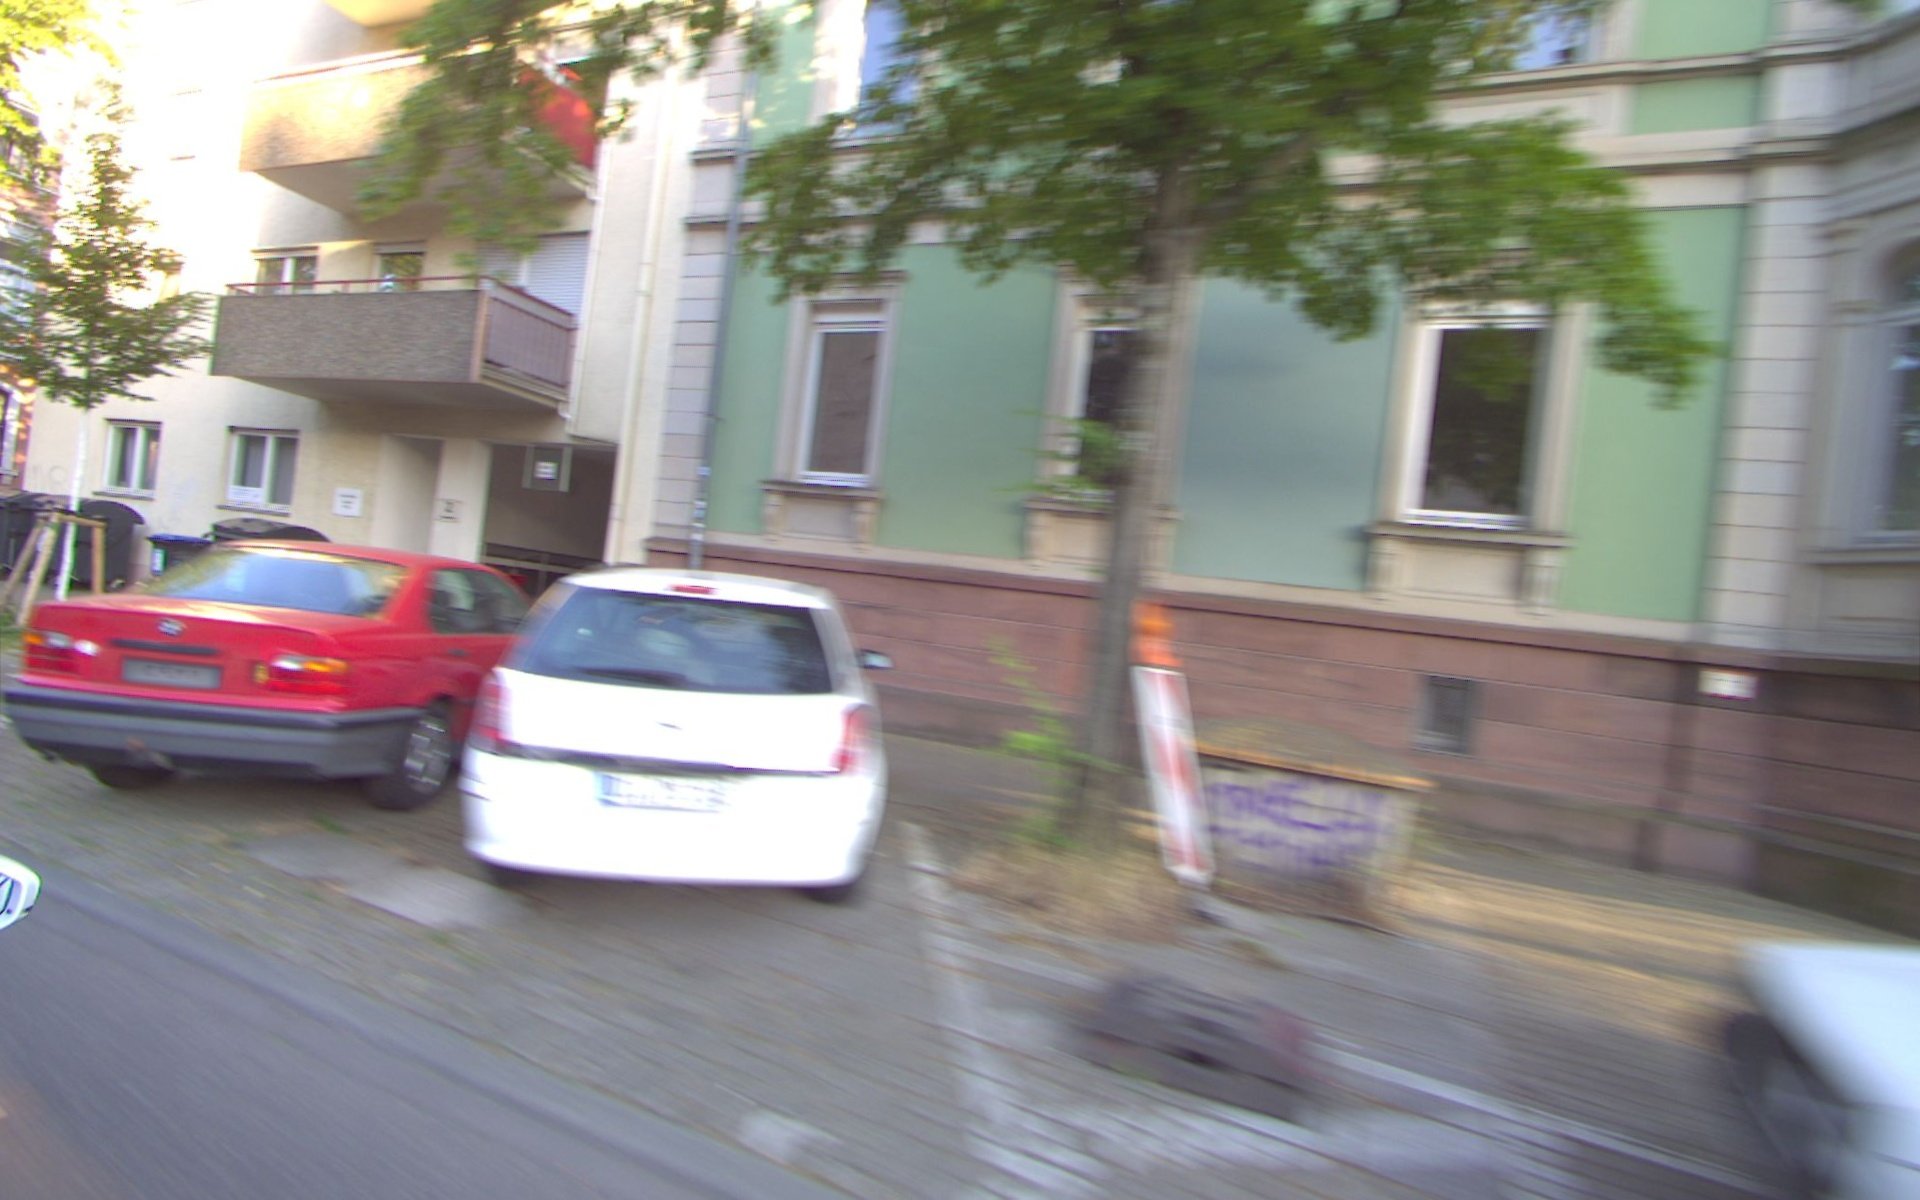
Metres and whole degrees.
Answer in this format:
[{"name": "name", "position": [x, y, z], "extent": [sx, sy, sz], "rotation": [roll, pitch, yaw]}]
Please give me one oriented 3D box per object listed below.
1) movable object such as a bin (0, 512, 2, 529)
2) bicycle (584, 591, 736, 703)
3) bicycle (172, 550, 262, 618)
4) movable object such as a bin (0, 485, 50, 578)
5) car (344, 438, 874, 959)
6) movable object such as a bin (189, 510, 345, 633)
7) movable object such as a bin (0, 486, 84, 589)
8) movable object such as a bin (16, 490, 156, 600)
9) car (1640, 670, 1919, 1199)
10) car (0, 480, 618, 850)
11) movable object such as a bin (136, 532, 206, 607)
[{"name": "movable object such as a bin", "position": [-16.389, -0.985, 16.616], "extent": [0.560, 1.060, 0.555], "rotation": [7, -1, 23]}, {"name": "bicycle", "position": [-3.506, 0.545, 11.755], "extent": [1.528, 1.087, 0.652], "rotation": [7, -1, 24]}, {"name": "bicycle", "position": [-11.355, -0.249, 15.375], "extent": [1.202, 0.875, 0.414], "rotation": [7, 0, 19]}, {"name": "movable object such as a bin", "position": [-17.153, -1.276, 17.628], "extent": [1.569, 1.520, 1.144], "rotation": [7, -1, 24]}, {"name": "car", "position": [-1.572, 0.420, 5.809], "extent": [1.693, 1.745, 4.205], "rotation": [7, -1, -8]}, {"name": "movable object such as a bin", "position": [-9.926, -0.395, 14.427], "extent": [1.455, 1.520, 1.117], "rotation": [7, -1, 24]}, {"name": "movable object such as a bin", "position": [-15.345, -1.040, 16.357], "extent": [1.295, 1.520, 1.076], "rotation": [7, -1, 22]}, {"name": "movable object such as a bin", "position": [-13.997, -0.868, 16.128], "extent": [1.247, 1.520, 1.144], "rotation": [7, -1, 24]}, {"name": "car", "position": [3.718, 1.193, 1.725], "extent": [3.931, 1.573, 1.681], "rotation": [7, 2, 29]}, {"name": "car", "position": [-3.759, 0.337, 6.580], "extent": [1.615, 1.471, 4.210], "rotation": [7, -2, -2]}, {"name": "movable object such as a bin", "position": [-12.235, -0.469, 15.612], "extent": [0.560, 1.060, 0.555], "rotation": [7, -1, 23]}]
